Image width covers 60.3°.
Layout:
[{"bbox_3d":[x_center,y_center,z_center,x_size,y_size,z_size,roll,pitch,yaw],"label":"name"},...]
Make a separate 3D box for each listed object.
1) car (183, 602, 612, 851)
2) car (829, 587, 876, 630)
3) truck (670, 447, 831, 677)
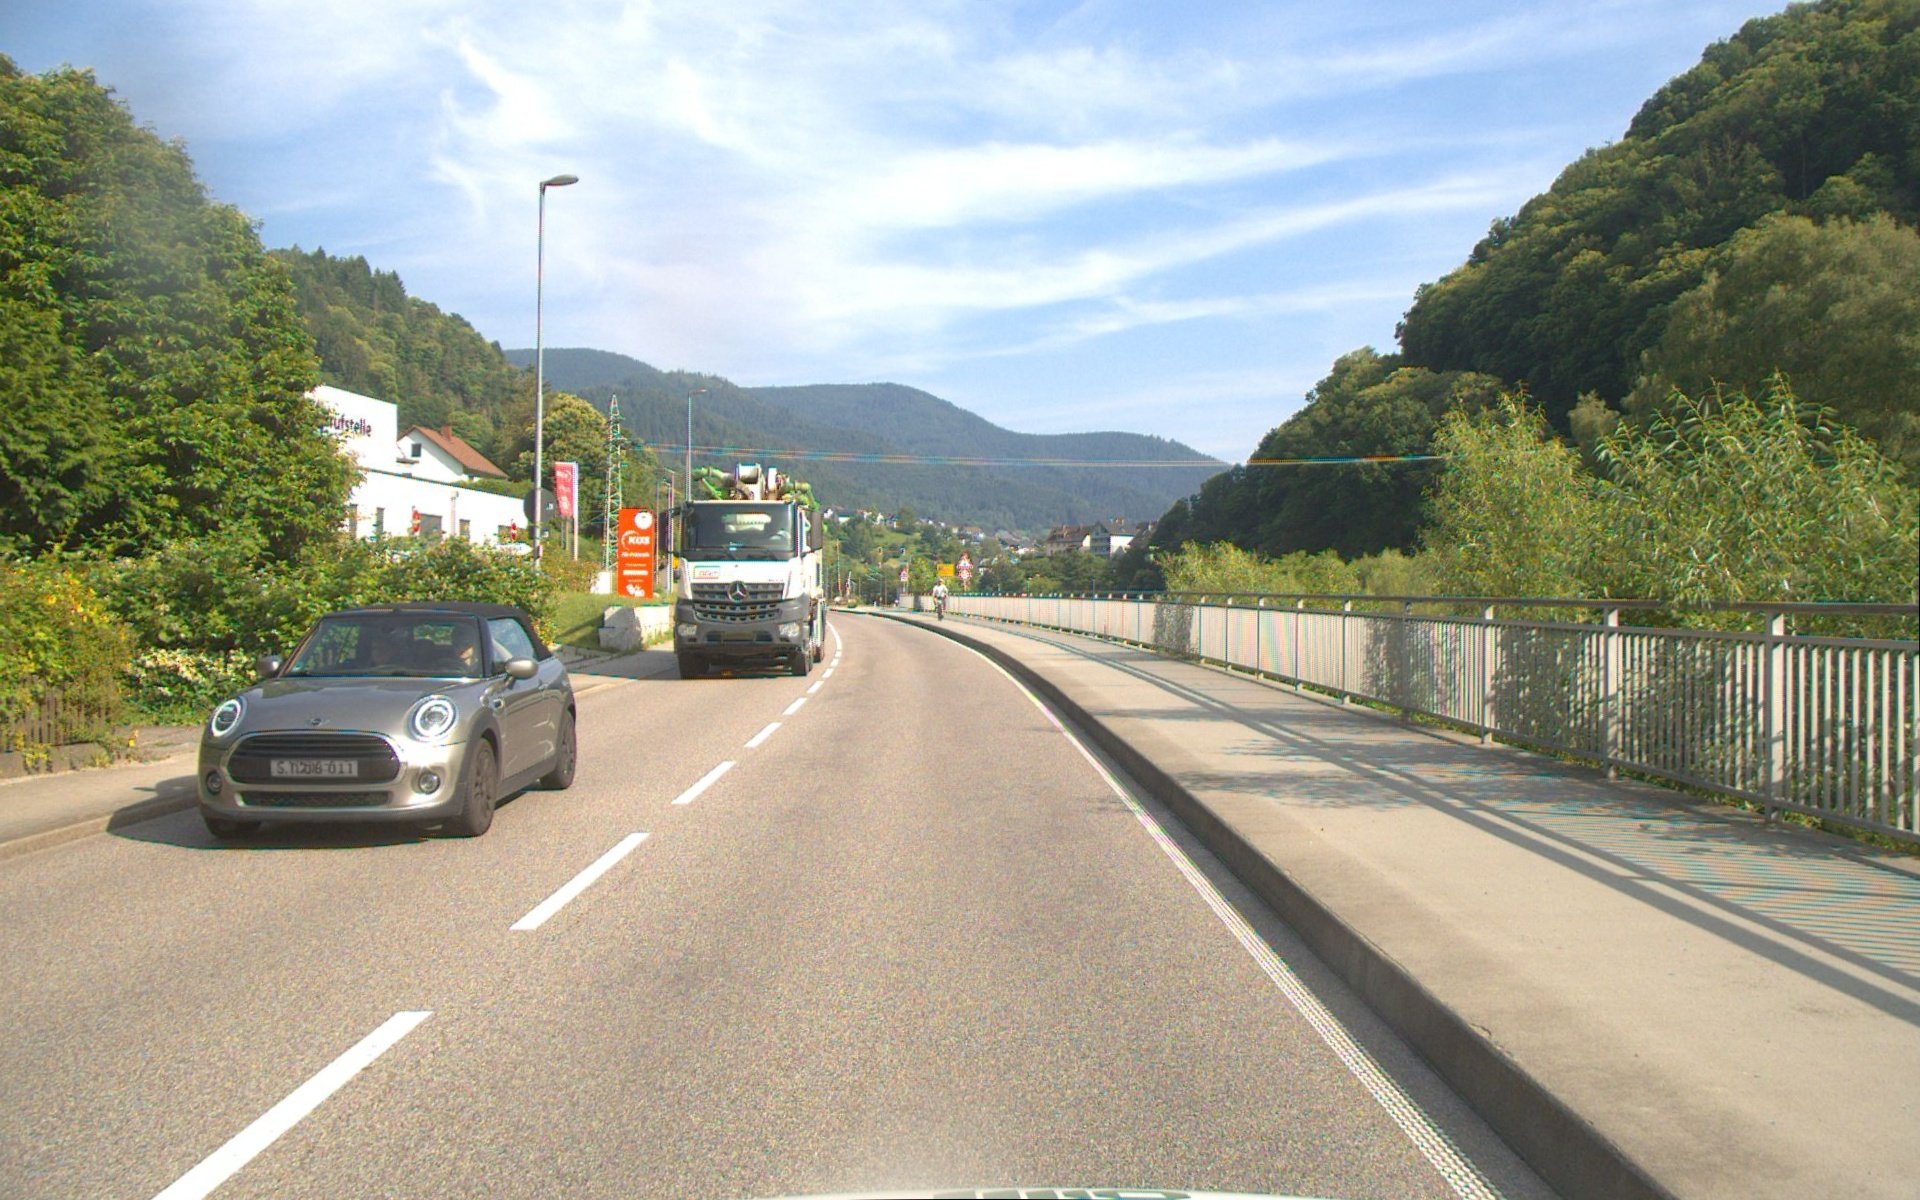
[{"bbox_3d":[-3.661,0.739,11.535,1.679,1.427,3.999,0,0,-1],"label":"car"},{"bbox_3d":[-4.007,0.304,62.014,1.714,1.530,4.188,-1,0,-3],"label":"car"},{"bbox_3d":[-4.101,-0.683,34.549,2.527,4.000,11.298,0,0,-3],"label":"truck"}]
